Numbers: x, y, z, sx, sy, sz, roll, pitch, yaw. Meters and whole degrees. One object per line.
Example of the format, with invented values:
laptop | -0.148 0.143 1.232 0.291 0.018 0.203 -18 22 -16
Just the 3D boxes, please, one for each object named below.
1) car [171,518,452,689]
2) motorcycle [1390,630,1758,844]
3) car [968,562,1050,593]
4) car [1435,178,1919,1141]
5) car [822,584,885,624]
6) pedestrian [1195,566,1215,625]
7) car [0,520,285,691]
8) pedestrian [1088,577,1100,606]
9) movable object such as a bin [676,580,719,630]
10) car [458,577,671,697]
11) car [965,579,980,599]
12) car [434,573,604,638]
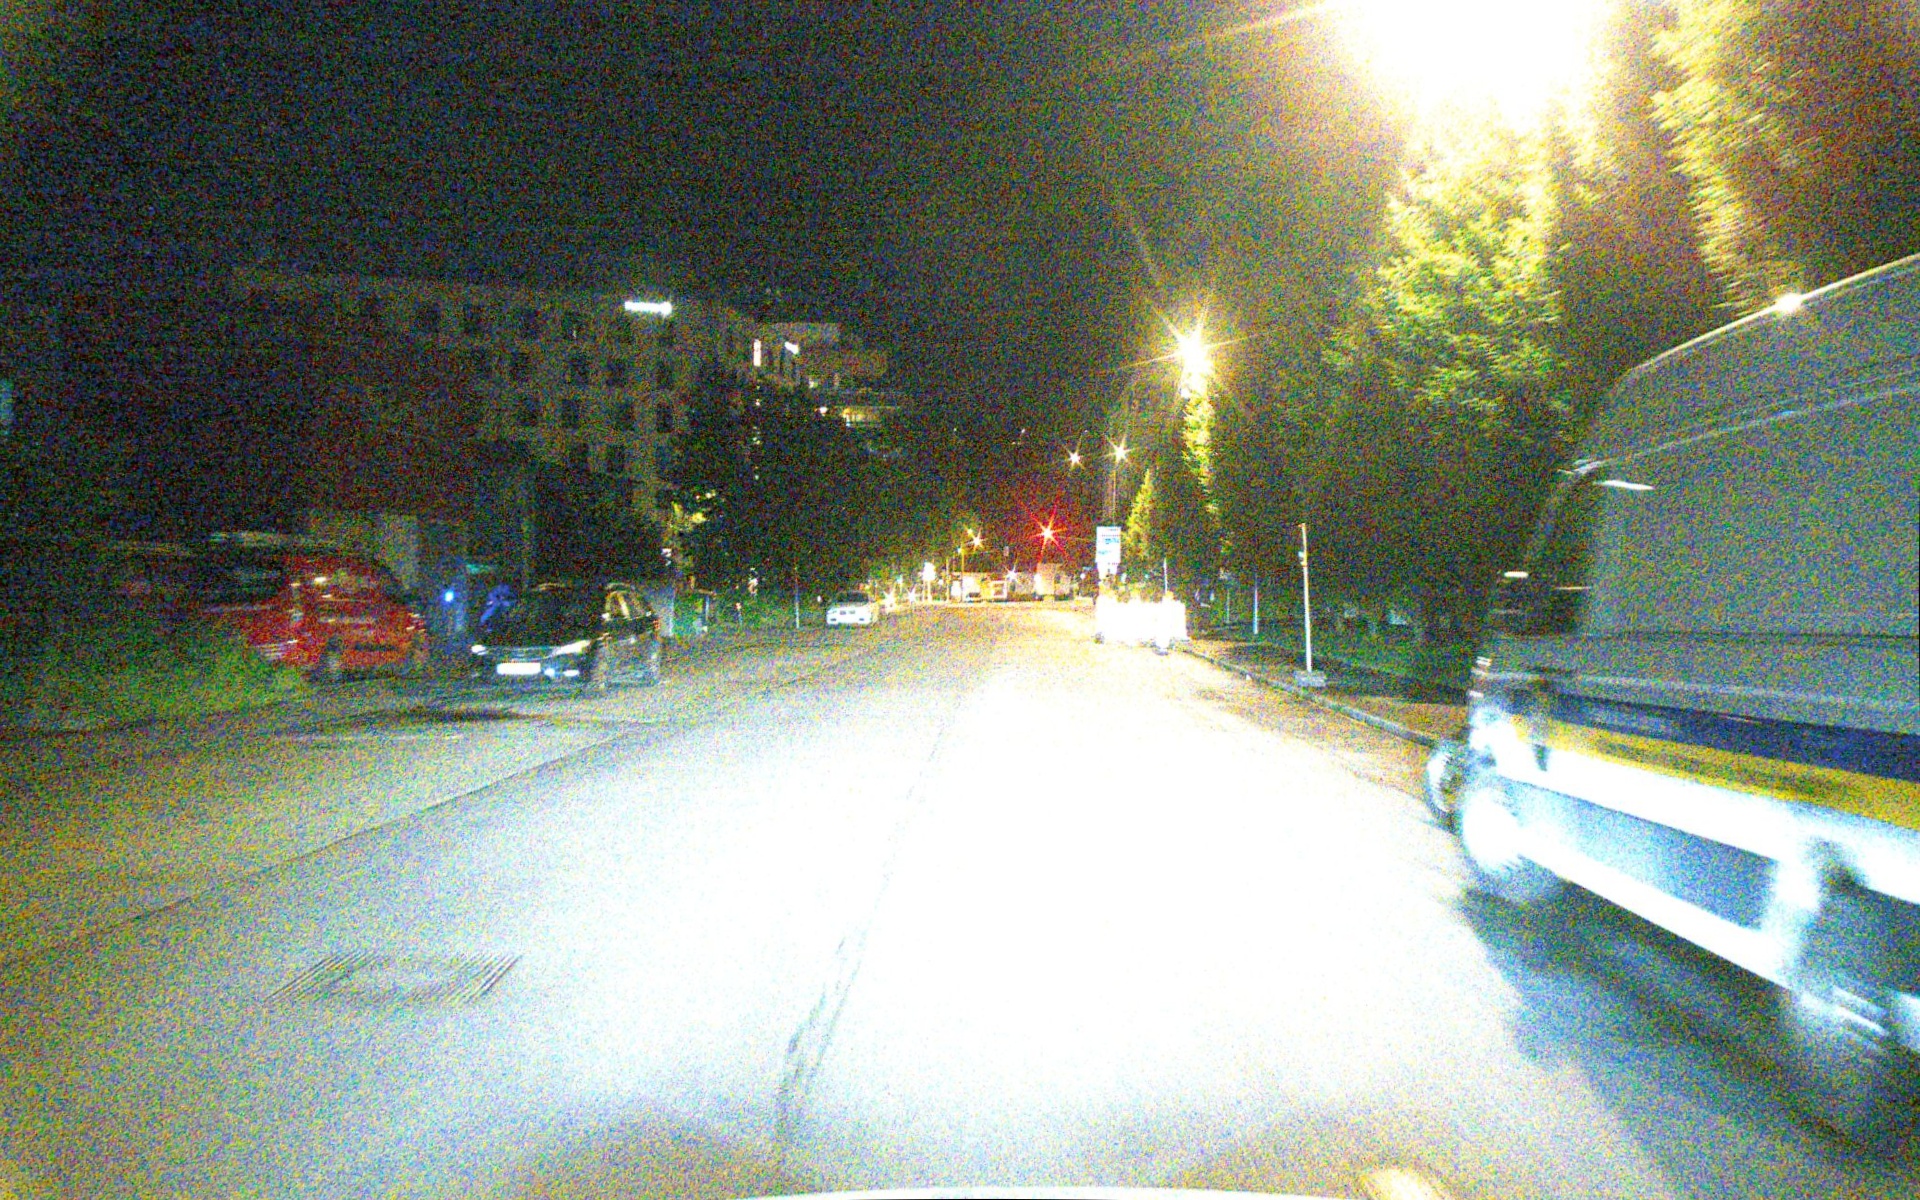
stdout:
car | -9.964 0.028 25.920 1.951 2.362 4.970 -2 0 6
motorcycle | 4.004 0.843 10.870 2.140 1.204 0.766 2 0 34
car | 7.601 -3.522 257.270 12.164 4.792 4.796 0 0 -12
car | 3.618 0.146 6.353 1.979 2.570 6.053 1 1 2
car | -4.032 0.132 63.156 1.871 1.428 4.340 0 1 3
pedestrian | 7.905 -0.139 53.386 0.558 1.885 0.820 0 0 3
car | -12.563 0.050 25.306 2.160 2.362 4.627 0 1 6
pedestrian | 9.571 -0.596 117.991 0.724 2.016 0.623 0 0 -14
movable object such as a bin | -8.055 0.142 50.739 1.140 1.522 1.065 0 0 0
car | -5.476 0.466 23.489 1.718 1.553 4.324 0 0 4
car | 1.819 -1.632 244.129 1.954 3.026 3.998 0 0 -3
car | -11.503 0.124 43.300 3.904 1.598 1.818 -1 1 2
